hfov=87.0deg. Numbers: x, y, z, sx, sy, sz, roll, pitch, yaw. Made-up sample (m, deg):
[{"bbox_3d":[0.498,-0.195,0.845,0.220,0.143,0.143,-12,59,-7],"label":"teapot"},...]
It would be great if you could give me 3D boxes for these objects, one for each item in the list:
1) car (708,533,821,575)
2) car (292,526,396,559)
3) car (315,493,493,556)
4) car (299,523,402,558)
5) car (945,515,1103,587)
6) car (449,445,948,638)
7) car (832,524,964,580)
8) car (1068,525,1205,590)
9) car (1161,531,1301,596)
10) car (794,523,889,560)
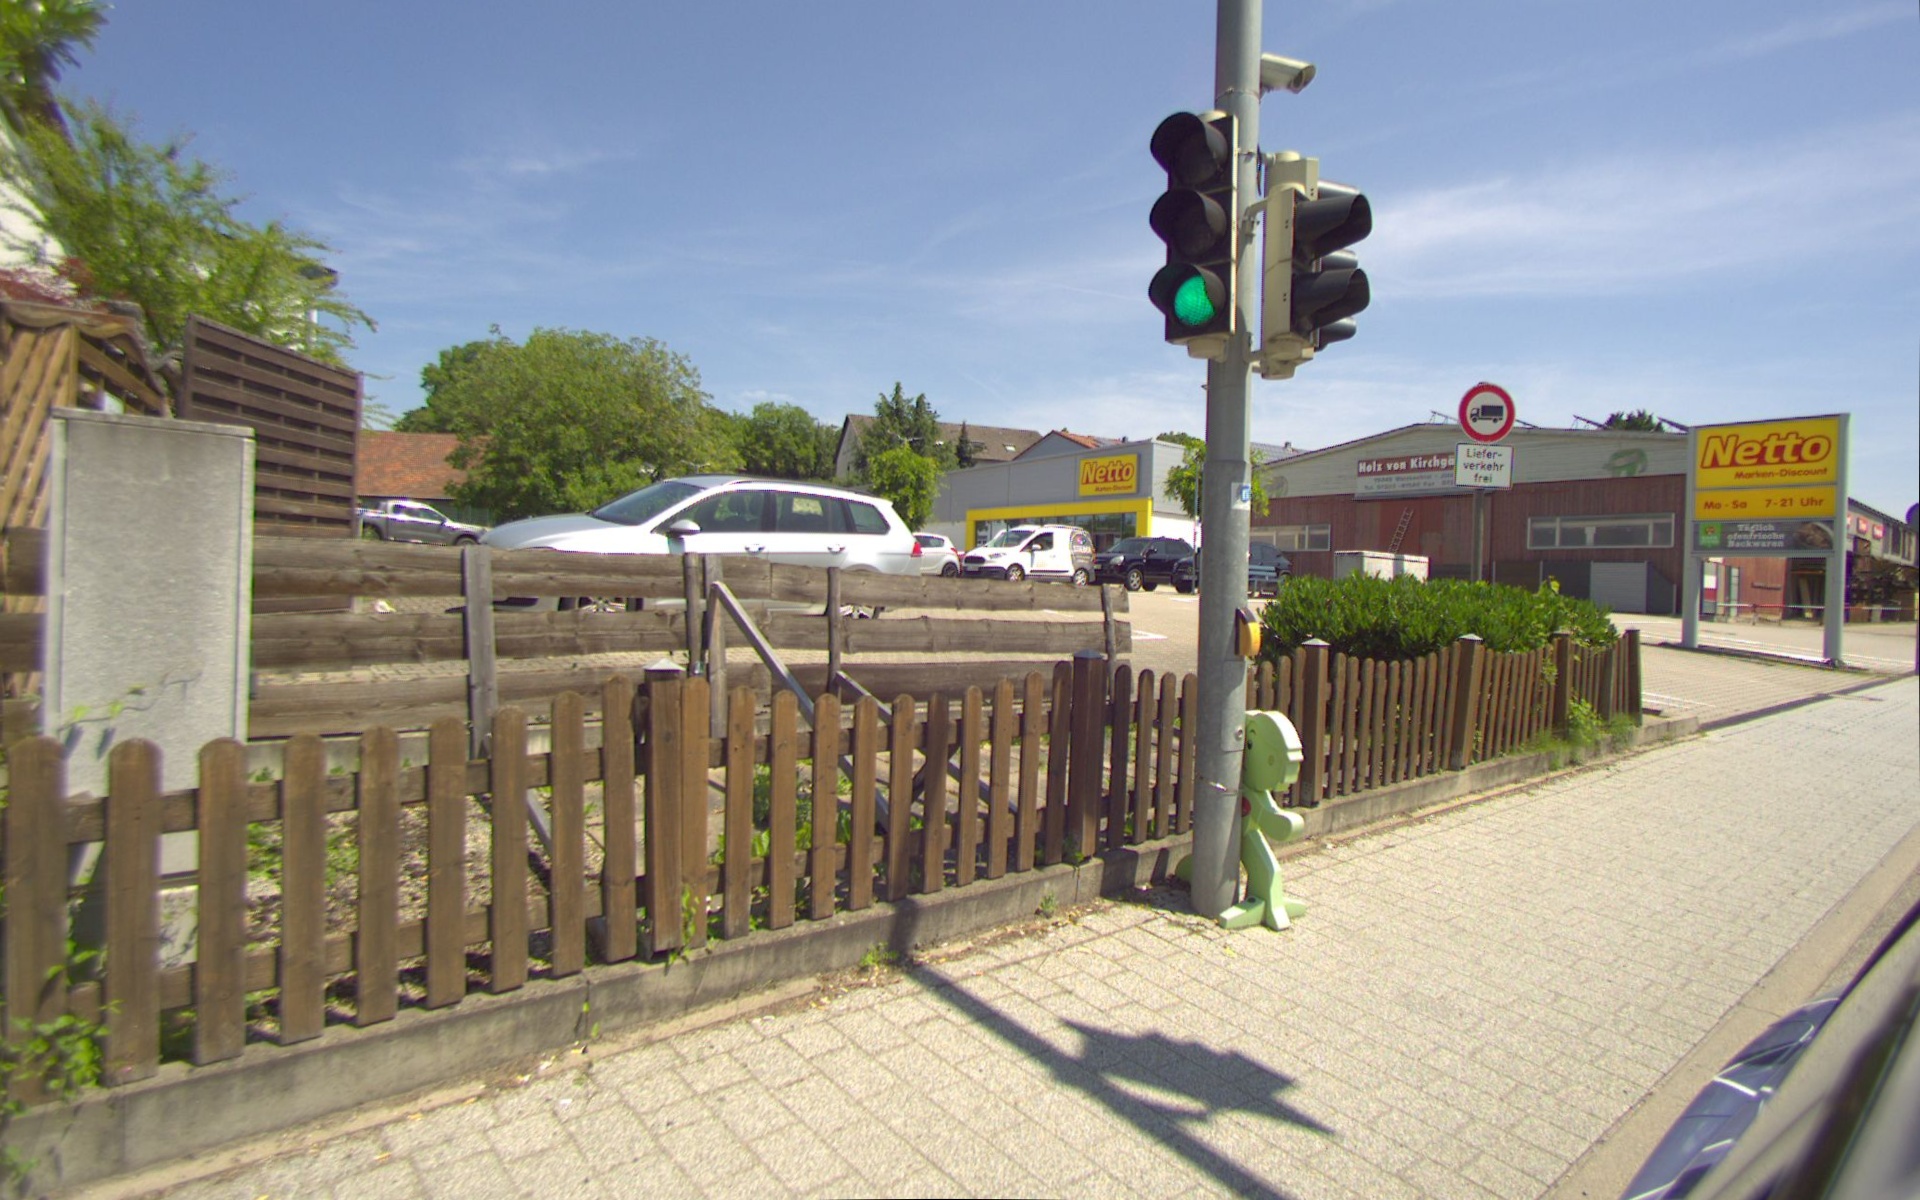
[{"bbox_3d":[-7.630,-1.802,39.664,4.016,1.430,1.645,0,4,-40],"label":"car"},{"bbox_3d":[-27.946,-2.617,45.938,3.848,1.272,1.606,0,4,-40],"label":"car"},{"bbox_3d":[-20.095,-2.711,36.694,5.334,1.972,2.142,0,4,-40],"label":"car"},{"bbox_3d":[-29.095,-2.820,48.357,4.016,1.431,1.644,0,0,-40],"label":"car"},{"bbox_3d":[1.806,-1.320,27.806,4.055,1.768,1.913,0,4,-40],"label":"car"},{"bbox_3d":[-2.395,-0.535,9.952,4.422,1.480,1.636,0,7,-40],"label":"car"},{"bbox_3d":[-1.861,-1.460,31.182,3.813,1.527,1.622,0,4,-41],"label":"car"},{"bbox_3d":[5.450,-1.282,31.011,4.055,1.768,1.913,0,4,-40],"label":"car"},{"bbox_3d":[7.785,-1.027,28.893,4.138,1.615,1.910,2,2,-43],"label":"car"},{"bbox_3d":[-5.340,-2.634,45.839,4.016,1.430,1.645,0,4,-40],"label":"car"}]
